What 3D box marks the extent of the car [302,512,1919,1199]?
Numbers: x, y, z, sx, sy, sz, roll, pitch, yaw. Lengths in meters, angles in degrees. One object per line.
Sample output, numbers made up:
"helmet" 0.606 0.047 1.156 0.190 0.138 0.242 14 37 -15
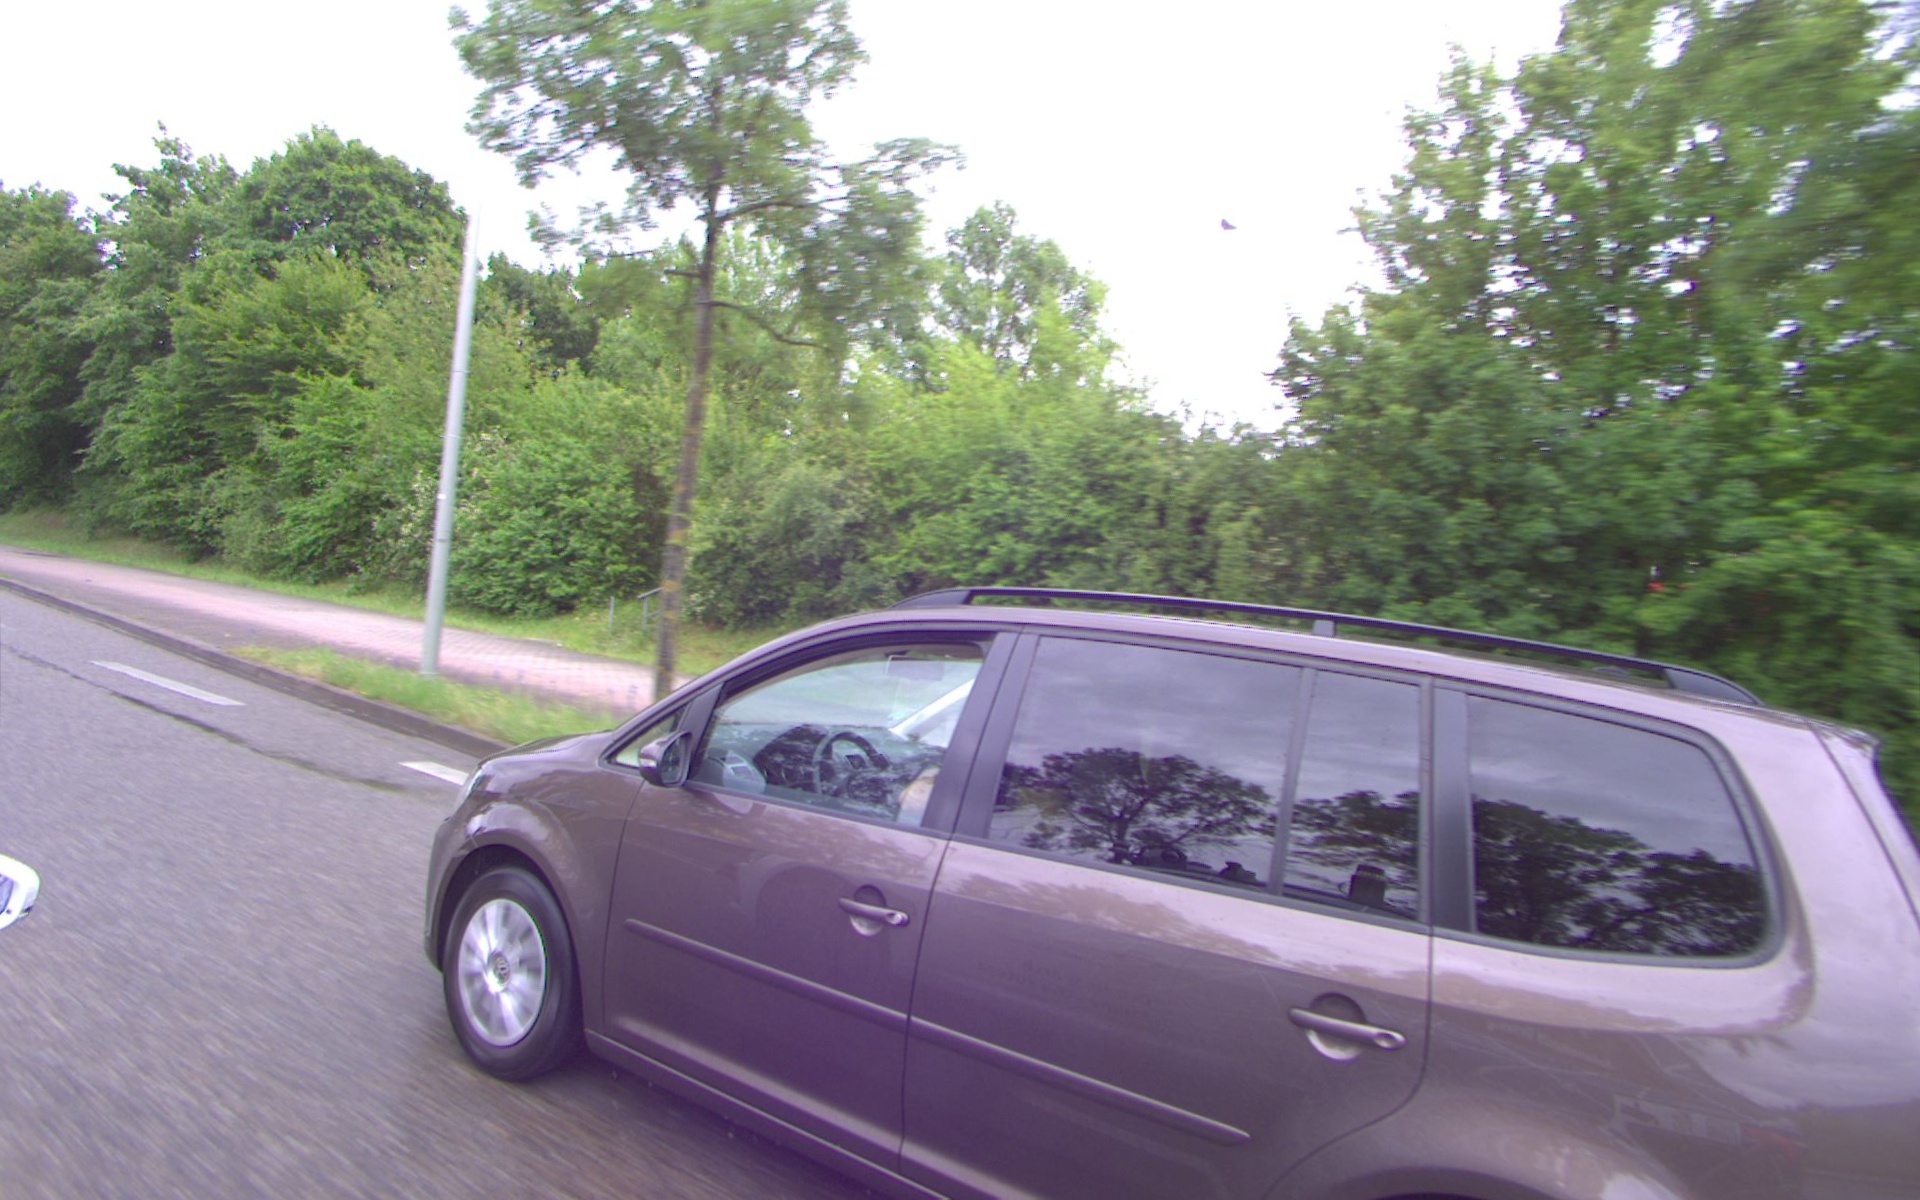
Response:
"car" -0.029 0.779 3.171 4.062 1.615 1.717 7 -2 31
